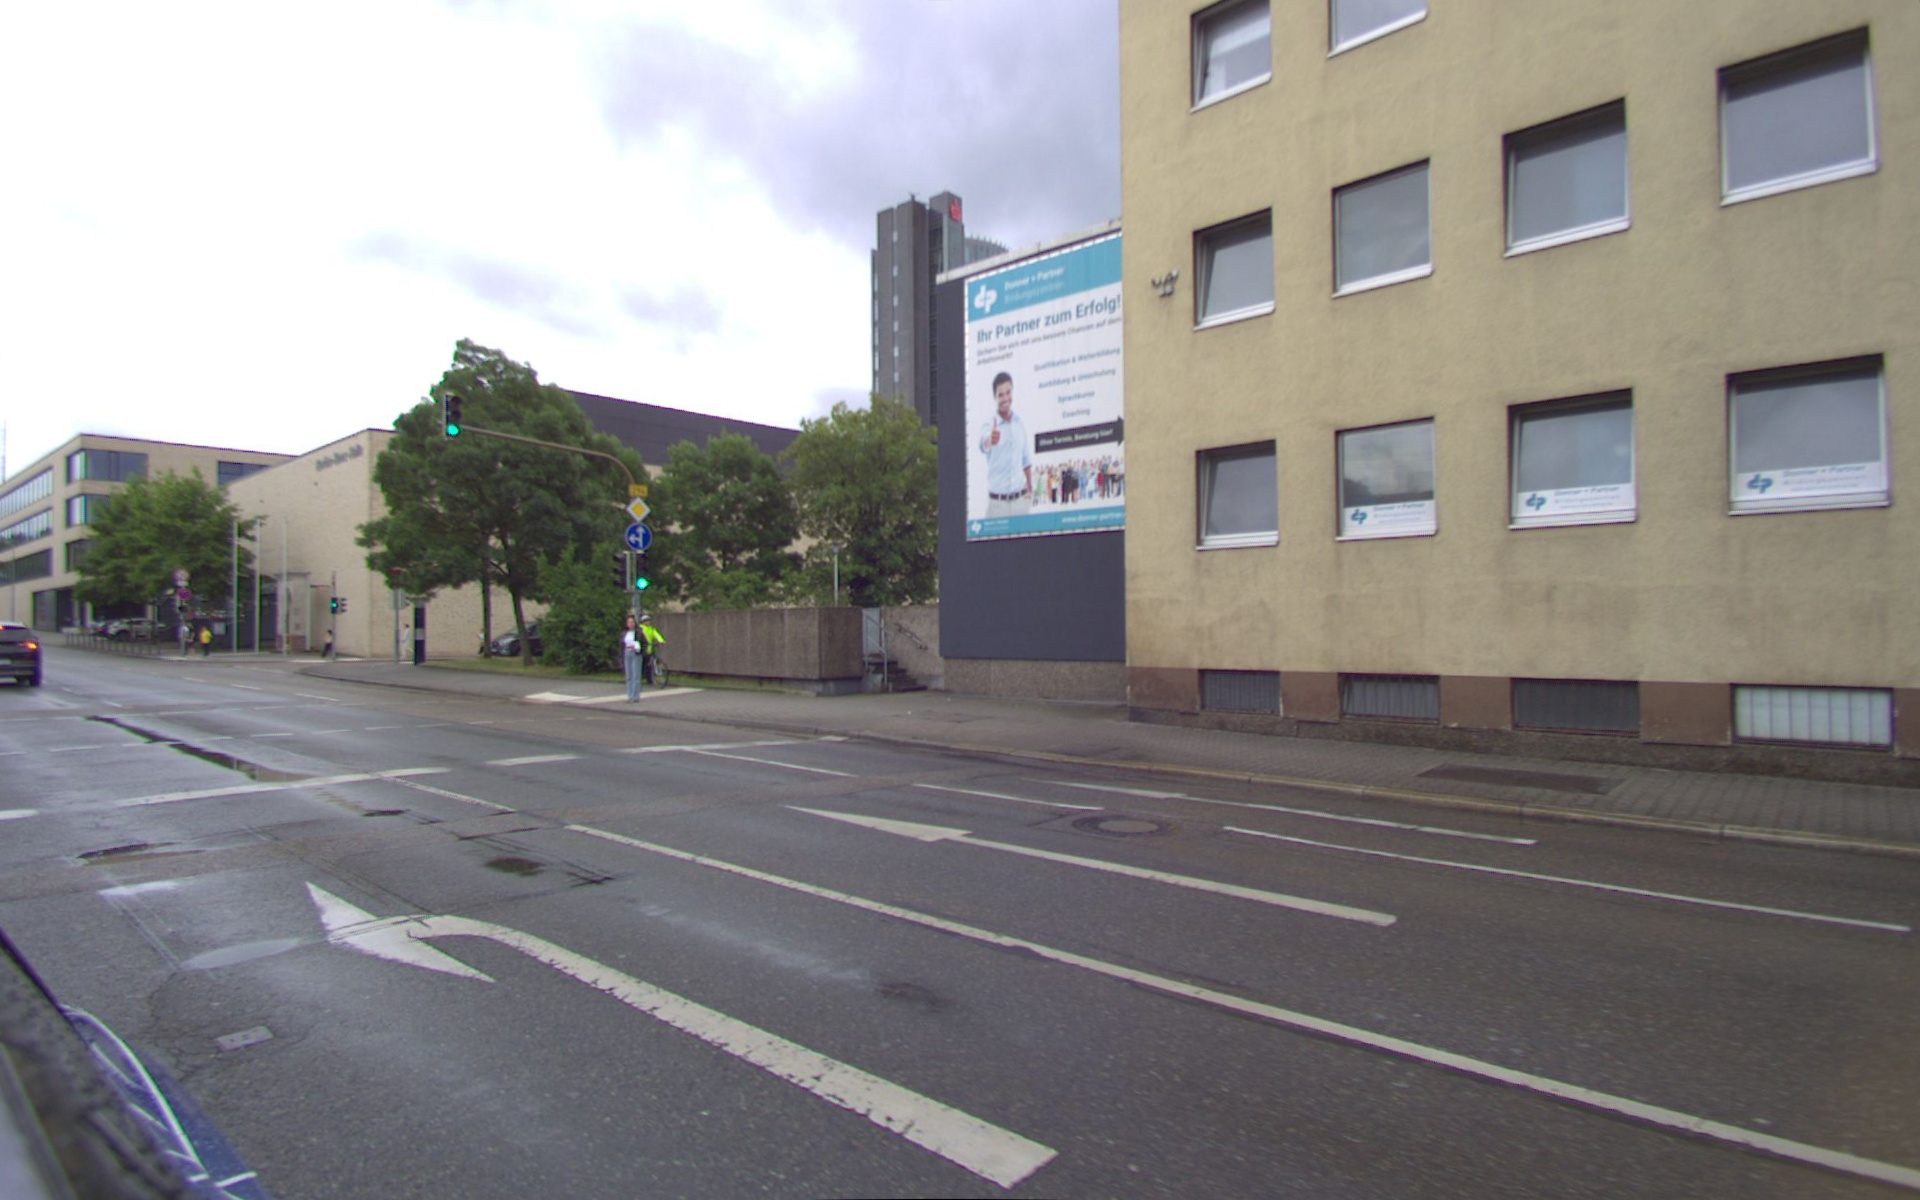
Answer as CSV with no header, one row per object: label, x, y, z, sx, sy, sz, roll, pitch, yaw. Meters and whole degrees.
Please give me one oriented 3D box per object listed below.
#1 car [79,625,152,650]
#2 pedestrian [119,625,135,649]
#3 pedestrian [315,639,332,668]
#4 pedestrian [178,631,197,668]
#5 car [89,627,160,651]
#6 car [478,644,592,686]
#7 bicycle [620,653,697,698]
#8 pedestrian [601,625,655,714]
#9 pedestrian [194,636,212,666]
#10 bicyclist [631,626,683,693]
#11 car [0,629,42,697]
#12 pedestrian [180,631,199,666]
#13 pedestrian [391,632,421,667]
car,-61.709,2.736,73.984,2.001,1.597,3.941,-1,0,45
pedestrian,-59.506,2.638,72.295,0.792,1.659,0.977,-1,0,-42
pedestrian,-31.487,2.651,50.064,0.475,1.386,0.614,-1,0,42
pedestrian,-38.132,2.433,49.957,0.691,1.784,0.588,-1,0,40
car,-62.821,2.879,76.122,2.001,1.597,3.941,-1,0,45
car,-20.771,3.212,49.671,1.997,1.940,4.730,-1,-5,38
bicycle,-6.950,1.715,23.255,1.867,0.914,0.875,-1,0,43
pedestrian,-6.646,1.371,20.261,0.811,1.702,0.709,-1,0,43
pedestrian,-38.651,2.600,51.657,0.691,1.528,0.588,-1,0,40
bicyclist,-6.959,1.350,23.243,0.812,1.453,0.833,-1,0,43
car,-24.542,1.543,25.439,4.294,1.606,1.788,-2,-2,42
pedestrian,-39.717,2.496,52.132,0.691,1.744,0.588,-1,0,37
pedestrian,-28.132,2.487,51.407,0.807,1.713,1.099,-1,0,39
